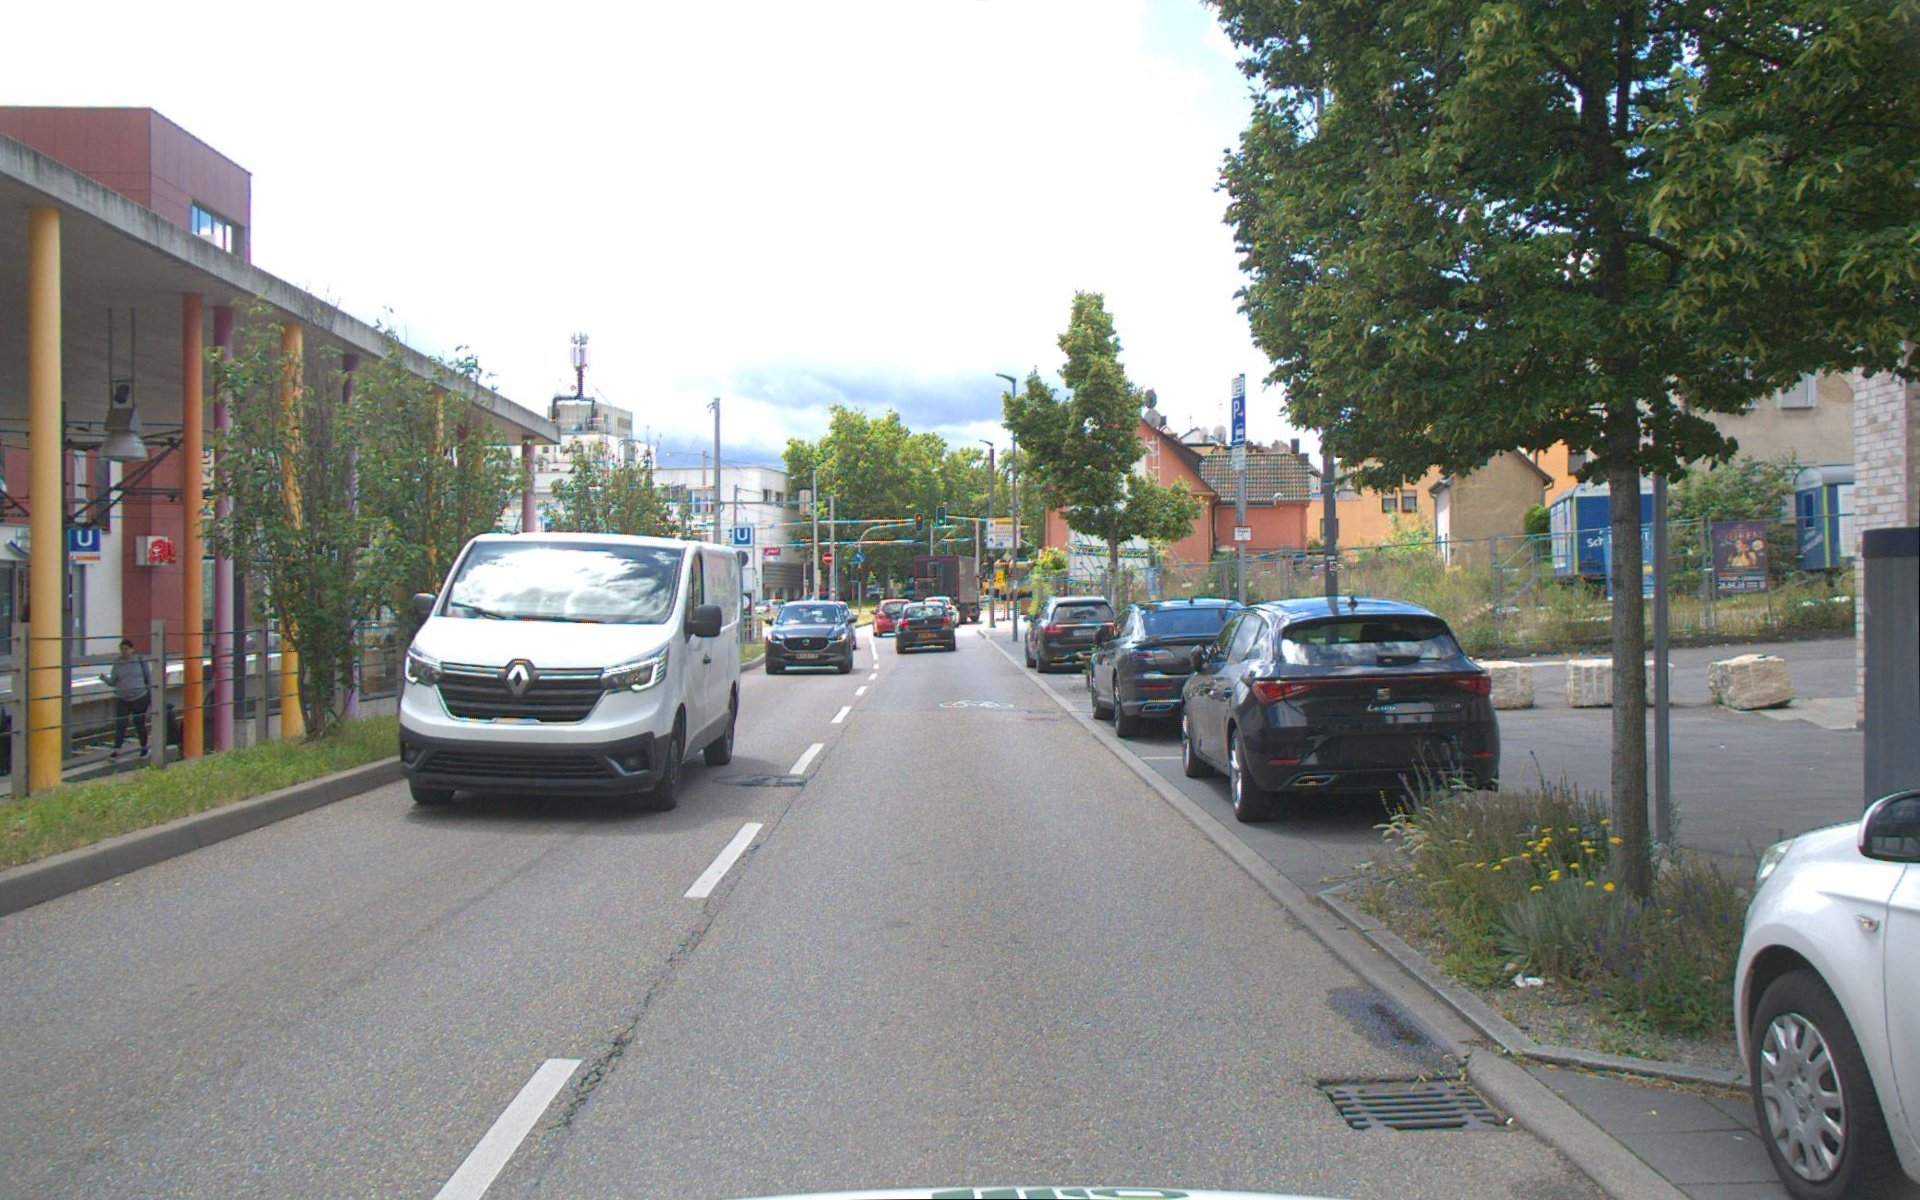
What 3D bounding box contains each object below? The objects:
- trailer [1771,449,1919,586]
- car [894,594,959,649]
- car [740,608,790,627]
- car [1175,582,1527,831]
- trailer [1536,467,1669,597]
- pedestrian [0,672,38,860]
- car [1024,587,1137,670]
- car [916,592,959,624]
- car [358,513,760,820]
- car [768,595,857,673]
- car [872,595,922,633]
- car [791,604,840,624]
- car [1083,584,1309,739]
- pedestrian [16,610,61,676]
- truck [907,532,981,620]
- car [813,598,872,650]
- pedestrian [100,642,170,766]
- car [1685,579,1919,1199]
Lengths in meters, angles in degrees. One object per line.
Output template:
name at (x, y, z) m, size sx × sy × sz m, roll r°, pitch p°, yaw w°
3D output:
trailer at (23.555, -2.049, 40.625) m, size 6.009 × 3.176 × 2.414 m, roll -2°, pitch 0°, yaw 9°
car at (-1.003, 0.600, 48.100) m, size 1.692 × 1.482 × 3.806 m, roll -1°, pitch 1°, yaw -4°
car at (-16.392, 1.450, 138.872) m, size 1.962 × 1.490 × 3.981 m, roll -1°, pitch 0°, yaw 39°
car at (2.695, 0.658, 12.343) m, size 1.658 × 1.486 × 4.147 m, roll -2°, pitch 0°, yaw 1°
trailer at (17.237, -1.723, 44.697) m, size 2.353 × 3.176 × 6.166 m, roll -2°, pitch 0°, yaw 13°
pedestrian at (-9.818, 1.659, 16.684) m, size 0.574 × 1.862 × 0.710 m, roll 1°, pitch -2°, yaw 1°
car at (2.350, 0.528, 33.358) m, size 1.746 × 1.477 × 4.474 m, roll -2°, pitch 0°, yaw -2°
car at (-1.124, 0.400, 81.420) m, size 1.851 × 1.491 × 4.066 m, roll -1°, pitch -1°, yaw -4°
car at (-2.875, 0.433, 13.145) m, size 1.963 × 1.951 × 5.064 m, roll 1°, pitch 0°, yaw 0°
car at (-3.137, 0.705, 35.748) m, size 1.690 × 1.548 × 4.252 m, roll 1°, pitch 0°, yaw -3°
car at (-2.544, 0.547, 65.779) m, size 1.679 × 1.418 × 3.803 m, roll -1°, pitch 1°, yaw -7°
car at (-12.576, 1.222, 144.077) m, size 1.961 × 1.628 × 4.181 m, roll -1°, pitch 1°, yaw 38°
car at (2.521, 0.611, 18.754) m, size 1.827 × 1.476 × 4.643 m, roll -2°, pitch 0°, yaw 0°
pedestrian at (-23.812, 1.110, 42.758) m, size 0.643 × 1.678 × 0.842 m, roll 1°, pitch -2°, yaw -1°
truck at (-0.802, -1.230, 93.087) m, size 3.135 × 4.615 × 9.034 m, roll 0°, pitch -1°, yaw 6°
car at (-3.726, 0.733, 52.451) m, size 1.736 × 1.534 × 3.997 m, roll -1°, pitch 0°, yaw -4°
pedestrian at (-11.221, 1.404, 22.509) m, size 0.616 × 1.642 × 0.636 m, roll 1°, pitch 1°, yaw 0°
car at (2.876, 0.694, 2.797) m, size 1.658 × 1.509 × 3.798 m, roll -2°, pitch 0°, yaw 1°
